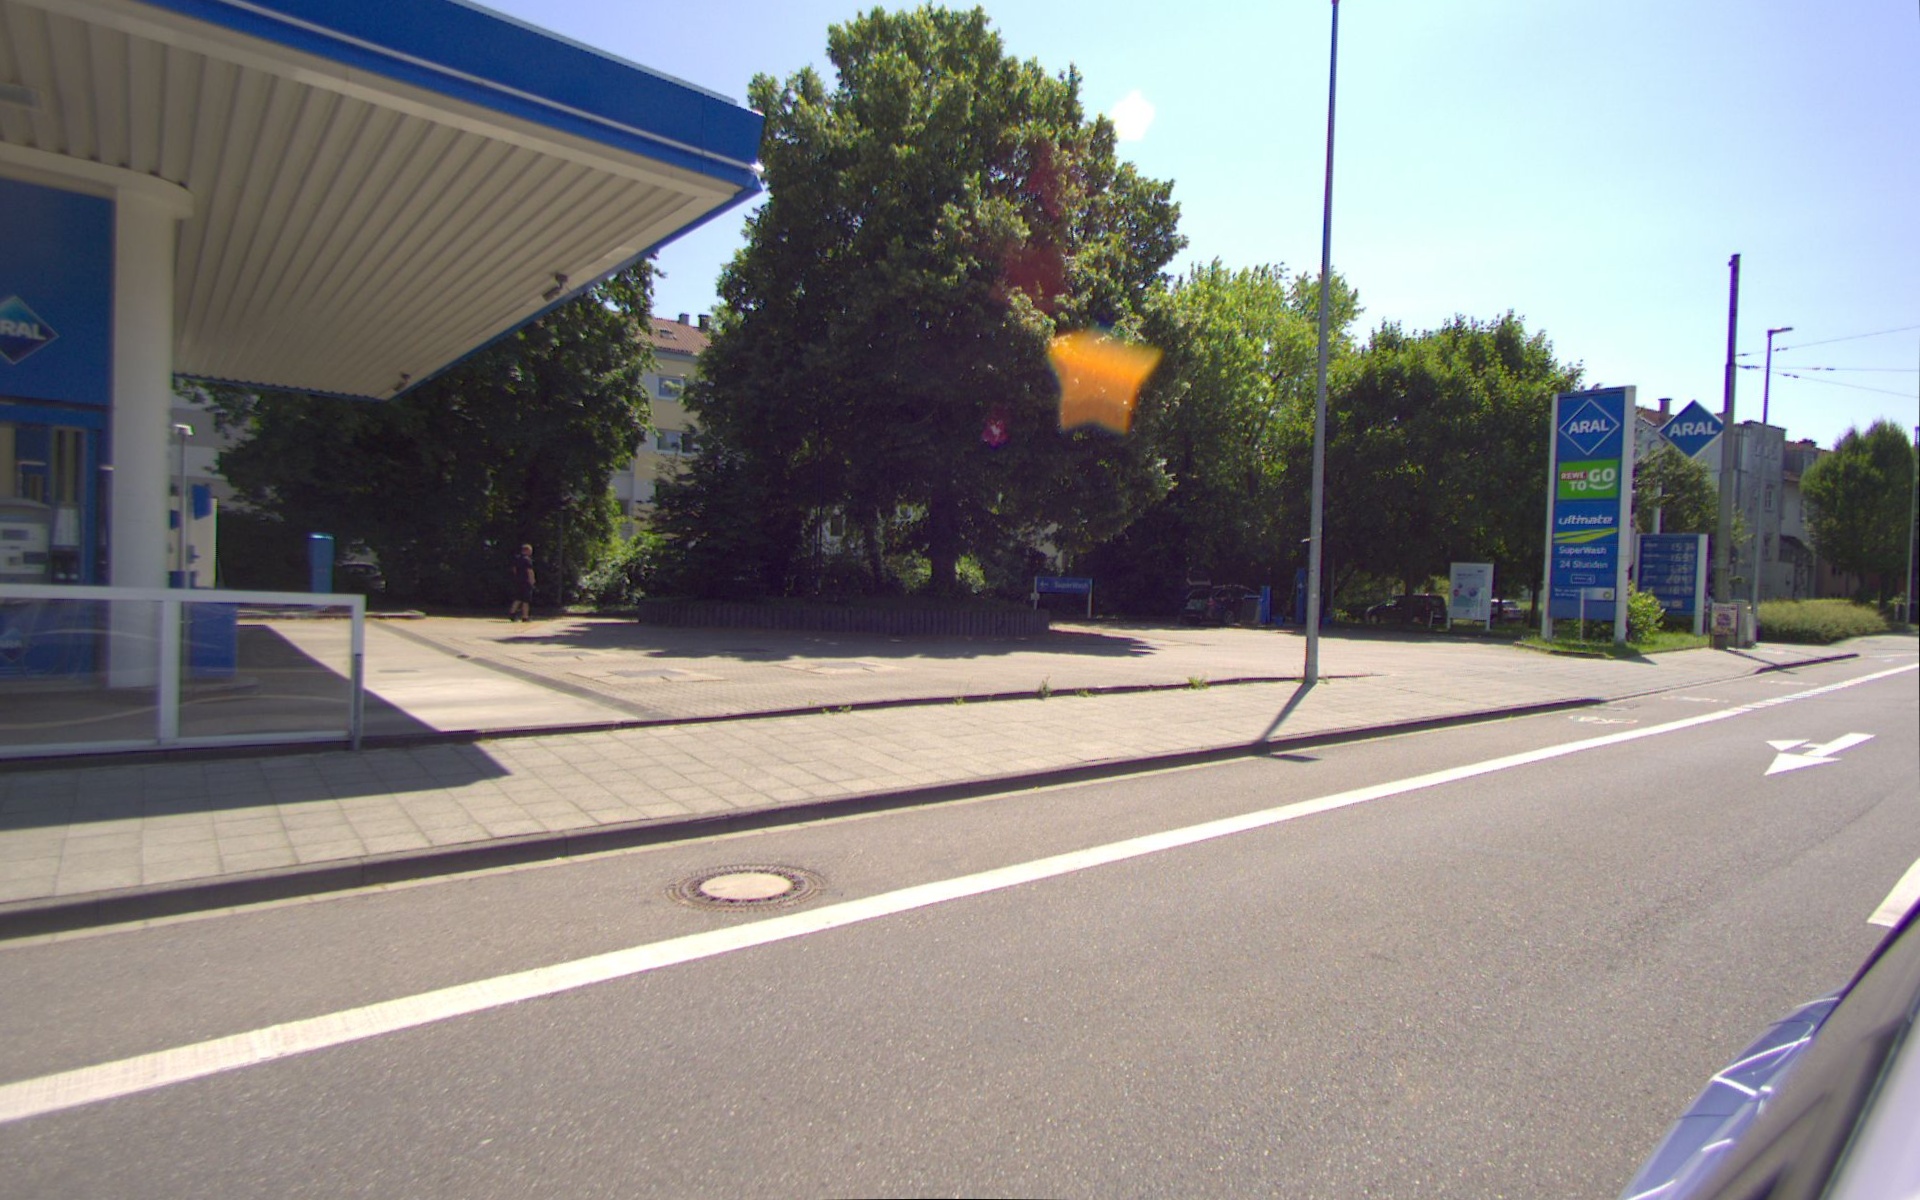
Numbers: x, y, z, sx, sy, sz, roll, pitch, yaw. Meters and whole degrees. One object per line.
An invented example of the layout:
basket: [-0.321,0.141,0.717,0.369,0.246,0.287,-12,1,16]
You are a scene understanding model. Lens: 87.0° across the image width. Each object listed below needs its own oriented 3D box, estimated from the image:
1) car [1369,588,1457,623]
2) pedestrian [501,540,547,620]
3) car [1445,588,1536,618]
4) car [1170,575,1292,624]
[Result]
car: [24.232,0.273,54.280,1.958,1.708,4.008,1,1,-25]
pedestrian: [-10.712,-0.481,24.852,0.822,1.912,0.626,2,0,-40]
car: [30.570,0.142,58.410,1.961,1.540,4.231,1,1,-32]
car: [9.961,-0.067,37.080,4.327,1.683,2.000,-1,2,-36]
